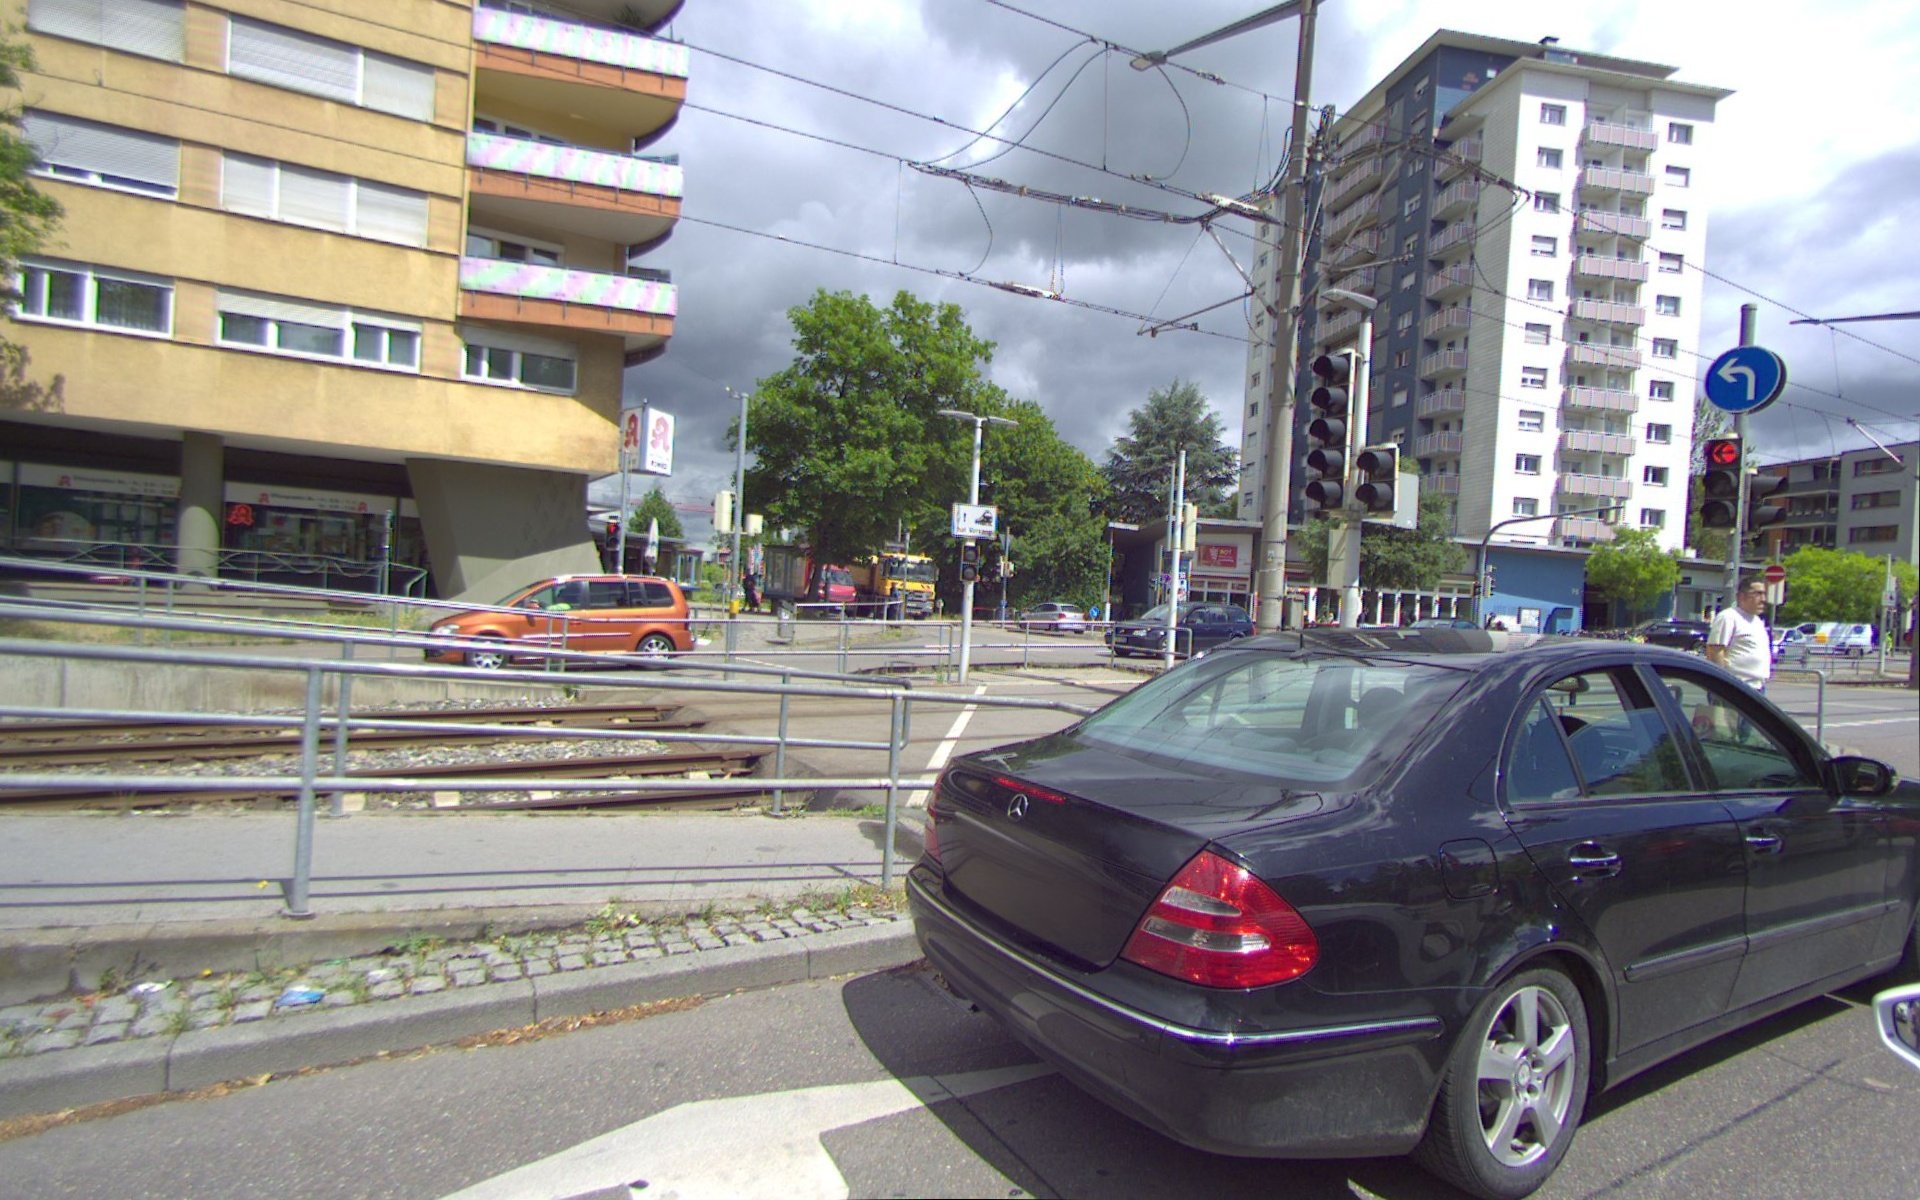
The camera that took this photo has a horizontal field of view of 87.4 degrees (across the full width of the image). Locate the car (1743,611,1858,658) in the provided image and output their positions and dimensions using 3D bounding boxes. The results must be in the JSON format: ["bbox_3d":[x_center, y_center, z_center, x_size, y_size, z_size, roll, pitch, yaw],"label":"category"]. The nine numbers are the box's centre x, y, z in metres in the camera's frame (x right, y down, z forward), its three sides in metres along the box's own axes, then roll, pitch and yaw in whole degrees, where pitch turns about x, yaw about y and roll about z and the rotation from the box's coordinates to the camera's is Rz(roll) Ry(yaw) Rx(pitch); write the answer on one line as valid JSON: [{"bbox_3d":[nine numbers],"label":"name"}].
[{"bbox_3d":[49.796,1.959,59.768,2.776,2.512,6.724,2,0,17],"label":"car"}]

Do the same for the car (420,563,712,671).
[{"bbox_3d":[-6.782,0.319,17.432,4.412,1.656,1.982,1,-1,-33],"label":"car"}]

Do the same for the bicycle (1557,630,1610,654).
[{"bbox_3d":[27.437,1.848,44.255,0.490,0.947,1.934,2,0,-35],"label":"bicycle"}]

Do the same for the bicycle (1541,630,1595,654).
[{"bbox_3d":[26.264,1.808,43.402,0.490,0.947,1.934,2,0,-35],"label":"bicycle"}]

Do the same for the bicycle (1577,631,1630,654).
[{"bbox_3d":[28.844,1.895,45.067,0.490,0.947,1.934,2,0,-35],"label":"bicycle"}]

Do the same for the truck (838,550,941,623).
[{"bbox_3d":[-3.595,-0.621,49.204,2.733,3.244,7.443,1,0,-23],"label":"truck"}]

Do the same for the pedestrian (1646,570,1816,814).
[{"bbox_3d":[6.220,0.692,8.122,0.734,1.832,0.863,1,1,-33],"label":"pedestrian"}]

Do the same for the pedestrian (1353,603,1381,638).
[{"bbox_3d":[22.892,1.163,56.486,1.202,1.942,0.859,1,1,-34],"label":"pedestrian"}]

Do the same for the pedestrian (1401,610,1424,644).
[{"bbox_3d":[22.086,1.300,49.031,0.693,1.637,0.760,1,1,-43],"label":"pedestrian"}]

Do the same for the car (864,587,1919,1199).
[{"bbox_3d":[2.049,0.764,3.813,4.490,1.481,1.720,2,0,-30],"label":"car"}]

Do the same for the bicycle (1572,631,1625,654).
[{"bbox_3d":[28.441,1.882,44.792,0.490,0.947,1.934,2,0,-35],"label":"bicycle"}]

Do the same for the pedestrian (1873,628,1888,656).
[{"bbox_3d":[58.563,2.680,63.896,0.663,1.739,0.542,1,1,-40],"label":"pedestrian"}]

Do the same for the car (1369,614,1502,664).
[{"bbox_3d":[14.862,1.223,31.301,4.446,1.418,1.625,2,0,-33],"label":"car"}]

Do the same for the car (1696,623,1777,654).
[{"bbox_3d":[42.766,2.091,55.443,1.921,1.558,4.220,2,0,13],"label":"car"}]

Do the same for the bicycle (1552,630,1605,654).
[{"bbox_3d":[27.051,1.835,43.983,0.490,0.947,1.934,2,0,-35],"label":"bicycle"}]

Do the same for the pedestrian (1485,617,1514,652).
[{"bbox_3d":[26.559,1.677,49.470,1.091,1.681,0.936,2,-1,-43],"label":"pedestrian"}]

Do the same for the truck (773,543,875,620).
[{"bbox_3d":[-6.775,-0.864,48.632,2.692,3.320,8.877,1,0,-22],"label":"truck"}]

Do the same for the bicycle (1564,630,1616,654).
[{"bbox_3d":[27.921,1.864,44.547,0.490,0.947,1.934,2,0,-35],"label":"bicycle"}]

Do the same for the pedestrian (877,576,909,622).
[{"bbox_3d":[-2.567,-0.039,38.499,0.773,1.636,0.758,6,2,-35],"label":"pedestrian"}]

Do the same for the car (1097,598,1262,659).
[{"bbox_3d":[5.577,0.740,25.369,4.210,1.432,1.619,2,-1,-35],"label":"car"}]

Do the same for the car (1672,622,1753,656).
[{"bbox_3d":[40.164,2.060,53.730,1.921,1.591,4.220,2,0,13],"label":"car"}]

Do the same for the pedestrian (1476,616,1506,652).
[{"bbox_3d":[25.720,1.648,48.660,1.091,1.681,0.936,2,-1,-43],"label":"pedestrian"}]

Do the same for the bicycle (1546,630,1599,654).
[{"bbox_3d":[26.640,1.821,43.694,0.490,0.947,1.934,2,0,-35],"label":"bicycle"}]

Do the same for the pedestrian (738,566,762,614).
[{"bbox_3d":[-7.463,-0.358,35.796,0.751,1.638,0.779,1,4,-7],"label":"pedestrian"}]

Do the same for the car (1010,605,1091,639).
[{"bbox_3d":[4.228,1.012,47.272,1.680,1.416,3.963,3,0,-33],"label":"car"}]

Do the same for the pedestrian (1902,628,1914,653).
[{"bbox_3d":[66.982,2.861,70.977,0.401,1.739,0.542,1,1,-39],"label":"pedestrian"}]

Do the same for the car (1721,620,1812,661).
[{"bbox_3d":[36.479,1.819,45.416,3.827,1.715,1.928,2,0,-30],"label":"car"}]

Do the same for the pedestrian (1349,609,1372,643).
[{"bbox_3d":[19.560,1.278,49.053,0.693,1.637,0.760,1,1,-43],"label":"pedestrian"}]
